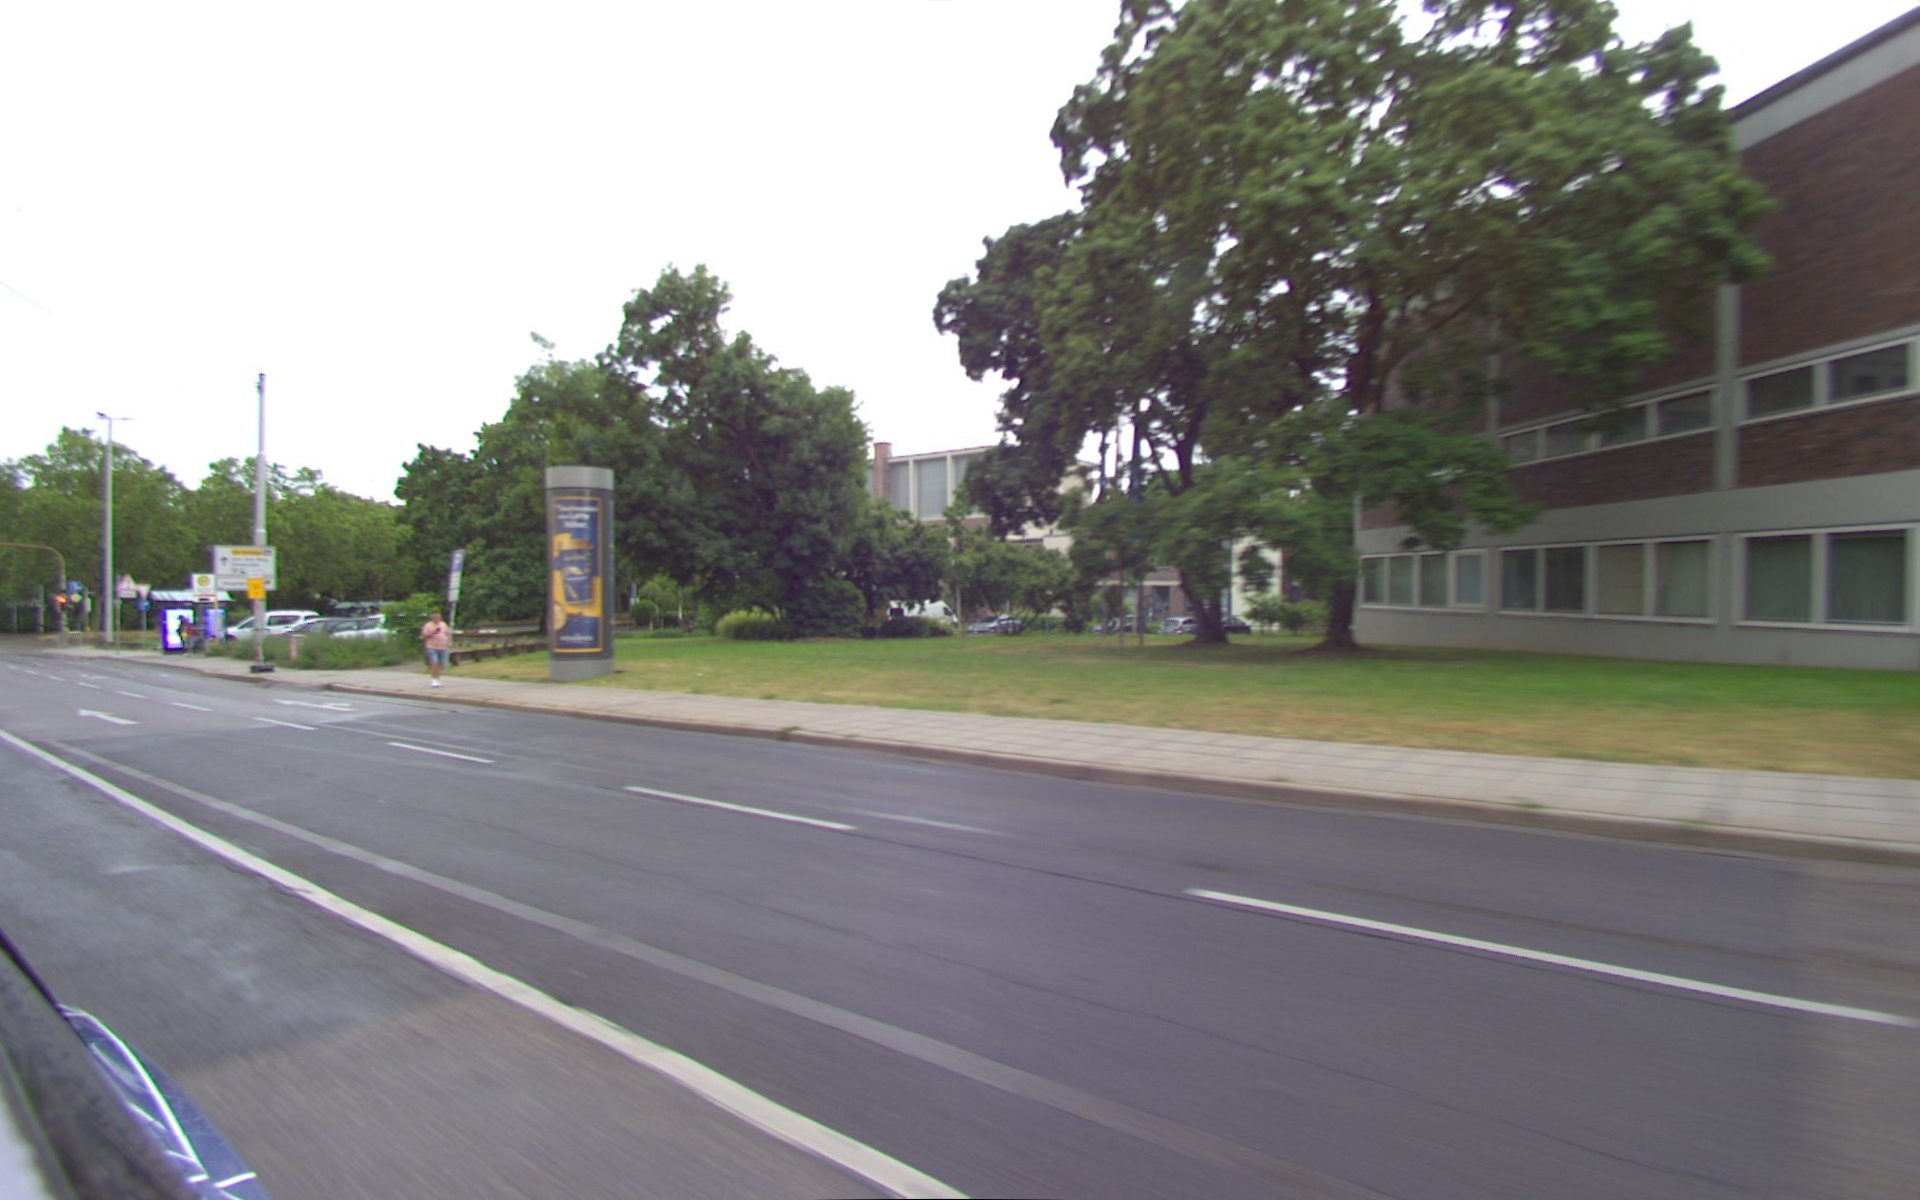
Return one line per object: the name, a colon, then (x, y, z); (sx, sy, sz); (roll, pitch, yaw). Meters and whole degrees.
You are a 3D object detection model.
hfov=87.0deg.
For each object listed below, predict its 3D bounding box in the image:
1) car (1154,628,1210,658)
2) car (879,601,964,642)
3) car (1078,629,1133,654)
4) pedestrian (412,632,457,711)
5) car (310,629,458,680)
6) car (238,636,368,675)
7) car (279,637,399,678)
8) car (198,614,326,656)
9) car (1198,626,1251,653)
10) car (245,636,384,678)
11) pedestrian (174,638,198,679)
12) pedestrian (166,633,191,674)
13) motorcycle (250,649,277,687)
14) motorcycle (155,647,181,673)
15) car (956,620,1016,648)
car: (13.436, 2.561, 61.193); (1.796, 1.530, 3.950); (-1, 1, 37)
car: (-2.812, 1.549, 75.919); (2.741, 2.782, 6.123); (-1, 1, 44)
car: (9.261, 2.604, 64.356); (1.780, 1.385, 3.886); (-1, 1, 37)
pedestrian: (-11.851, 1.585, 22.819); (0.662, 1.699, 0.914); (-2, 1, -42)
car: (-21.038, 1.978, 37.038); (4.473, 1.621, 1.865); (-2, 1, 8)
car: (-27.976, 2.355, 43.256); (4.305, 1.359, 1.911); (-2, 1, -19)
car: (-24.135, 2.218, 39.476); (3.539, 1.359, 1.847); (-2, 1, -11)
car: (-33.459, 1.669, 48.627); (4.649, 1.768, 2.019); (-2, 1, -7)
car: (15.495, 2.297, 59.205); (1.653, 1.360, 3.802); (-1, 1, 37)
car: (-26.210, 2.280, 41.277); (4.504, 1.359, 1.911); (-2, 1, -24)
pedestrian: (-33.751, 2.542, 44.123); (0.641, 1.708, 0.622); (-1, 1, 33)
pedestrian: (-34.385, 2.345, 44.530); (0.670, 1.708, 0.678); (-1, 1, 33)
motorcycle: (-24.617, 2.377, 35.767); (1.267, 1.256, 0.509); (-1, 1, 42)
motorcycle: (-40.377, 3.047, 51.599); (1.261, 1.256, 0.511); (-1, 1, 27)
car: (1.820, 2.309, 69.280); (1.999, 1.763, 3.946); (-3, -1, 41)
